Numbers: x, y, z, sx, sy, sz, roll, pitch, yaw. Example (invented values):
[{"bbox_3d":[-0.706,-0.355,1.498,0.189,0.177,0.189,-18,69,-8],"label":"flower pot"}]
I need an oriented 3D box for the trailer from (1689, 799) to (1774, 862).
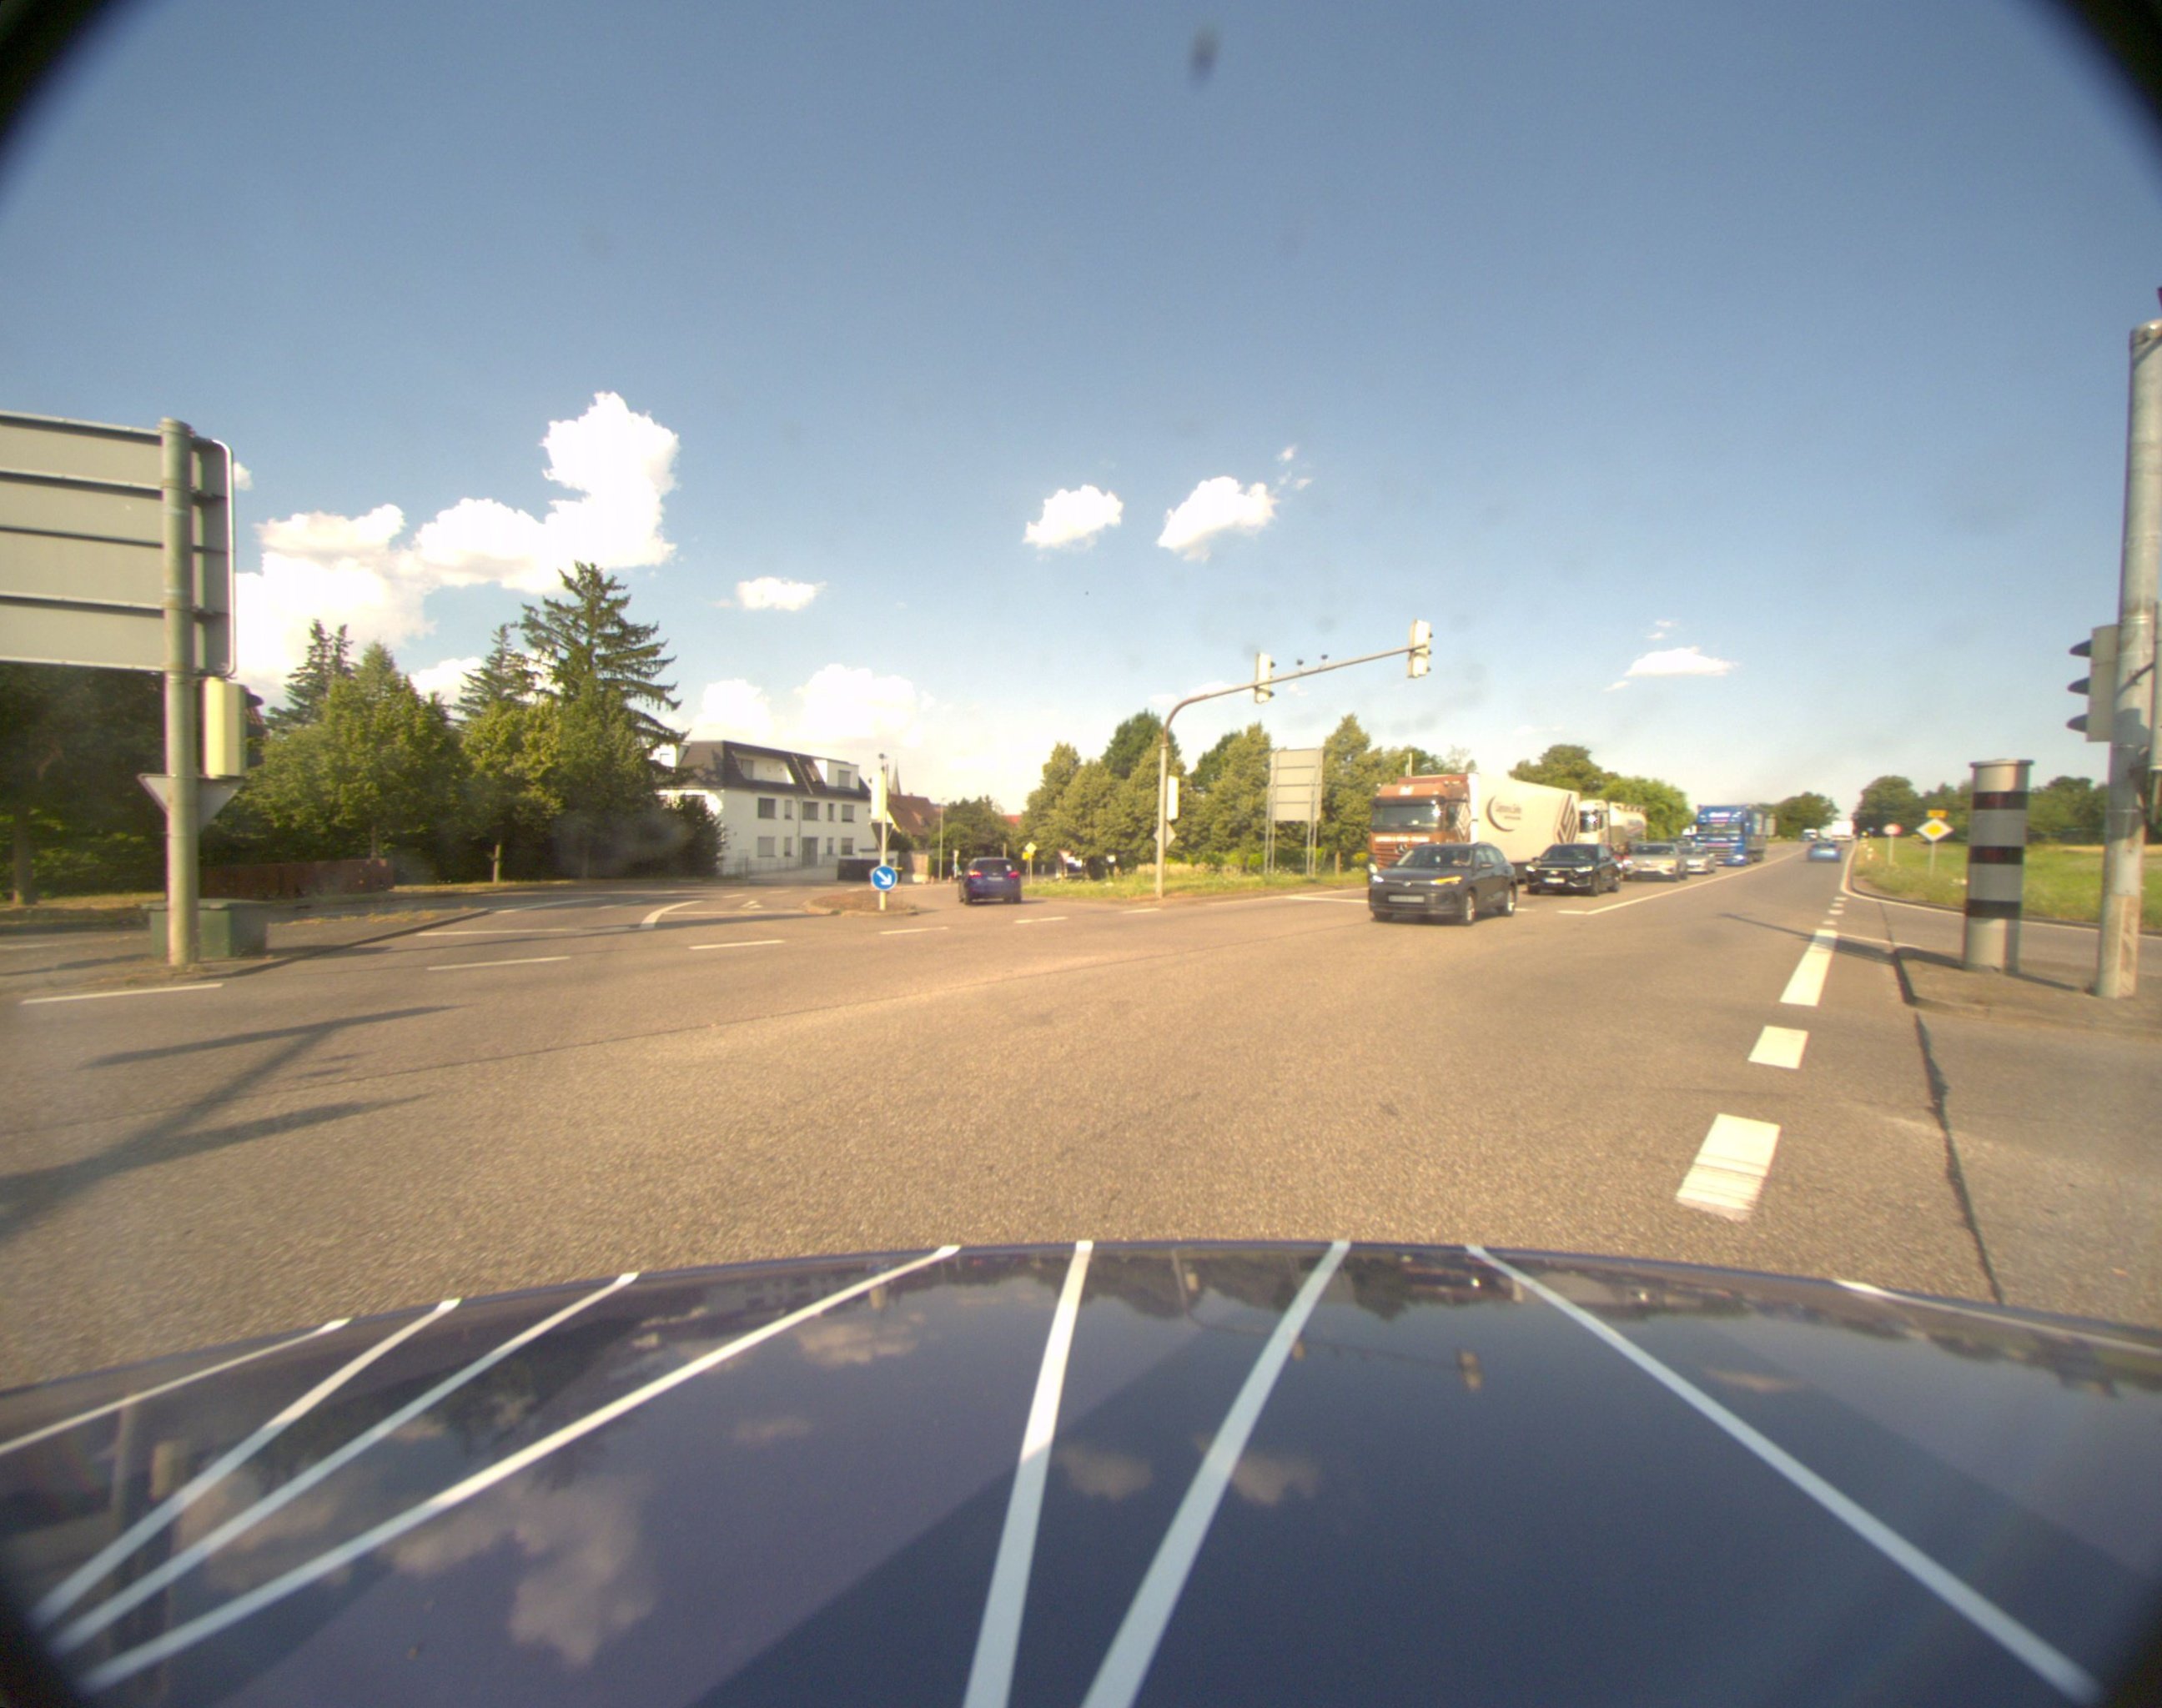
[{"bbox_3d":[46.233,-1.574,53.787,13.777,3.982,3.409,-1,1,-45],"label":"trailer"}]

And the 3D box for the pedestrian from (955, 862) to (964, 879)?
[{"bbox_3d":[-12.433,1.708,77.732,0.617,1.718,0.640,0,1,15],"label":"pedestrian"}]

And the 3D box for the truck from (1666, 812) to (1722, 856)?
[{"bbox_3d":[57.705,-1.838,71.348,12.924,3.752,2.523,-1,1,-44],"label":"truck"}]

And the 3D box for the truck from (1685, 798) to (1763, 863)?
[{"bbox_3d":[41.616,-1.462,49.143,5.613,3.982,3.366,-2,1,-45],"label":"truck"}]

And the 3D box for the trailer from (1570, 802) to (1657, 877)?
[{"bbox_3d":[29.798,-0.780,42.328,9.544,3.755,2.259,-1,0,-45],"label":"trailer"}]

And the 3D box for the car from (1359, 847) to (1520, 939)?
[{"bbox_3d":[7.646,0.694,15.966,1.784,1.620,4.478,0,1,43],"label":"car"}]

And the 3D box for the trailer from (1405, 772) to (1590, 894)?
[{"bbox_3d":[17.523,-0.752,31.055,14.365,4.043,2.533,-1,1,-44],"label":"trailer"}]

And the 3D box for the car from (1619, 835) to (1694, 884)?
[{"bbox_3d":[24.341,0.169,32.088,4.381,1.936,1.903,-1,1,-45],"label":"car"}]

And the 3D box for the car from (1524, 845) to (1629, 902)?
[{"bbox_3d":[15.857,0.553,24.227,4.557,1.604,1.771,-1,1,-43],"label":"car"}]

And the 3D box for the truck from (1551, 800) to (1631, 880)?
[{"bbox_3d":[25.837,-0.701,38.414,5.697,3.783,2.256,-2,1,-45],"label":"truck"}]

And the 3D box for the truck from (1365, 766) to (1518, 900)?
[{"bbox_3d":[12.511,-0.691,26.093,6.675,4.020,2.533,-2,1,-44],"label":"truck"}]

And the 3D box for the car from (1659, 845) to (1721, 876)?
[{"bbox_3d":[31.045,0.283,38.690,4.008,1.477,1.994,-1,1,-45],"label":"car"}]

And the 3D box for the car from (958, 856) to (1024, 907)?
[{"bbox_3d":[-3.026,0.835,24.892,1.794,1.488,4.298,-1,0,-11],"label":"car"}]

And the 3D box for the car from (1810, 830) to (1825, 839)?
[{"bbox_3d":[158.308,-4.200,163.344,4.008,2.002,1.994,-1,1,-41],"label":"car"}]

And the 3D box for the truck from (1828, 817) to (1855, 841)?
[{"bbox_3d":[144.723,-4.722,144.573,9.506,4.471,3.442,-1,1,-45],"label":"truck"}]

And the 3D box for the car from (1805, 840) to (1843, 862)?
[{"bbox_3d":[52.857,-0.190,54.110,1.759,1.492,4.009,2,1,42],"label":"car"}]
